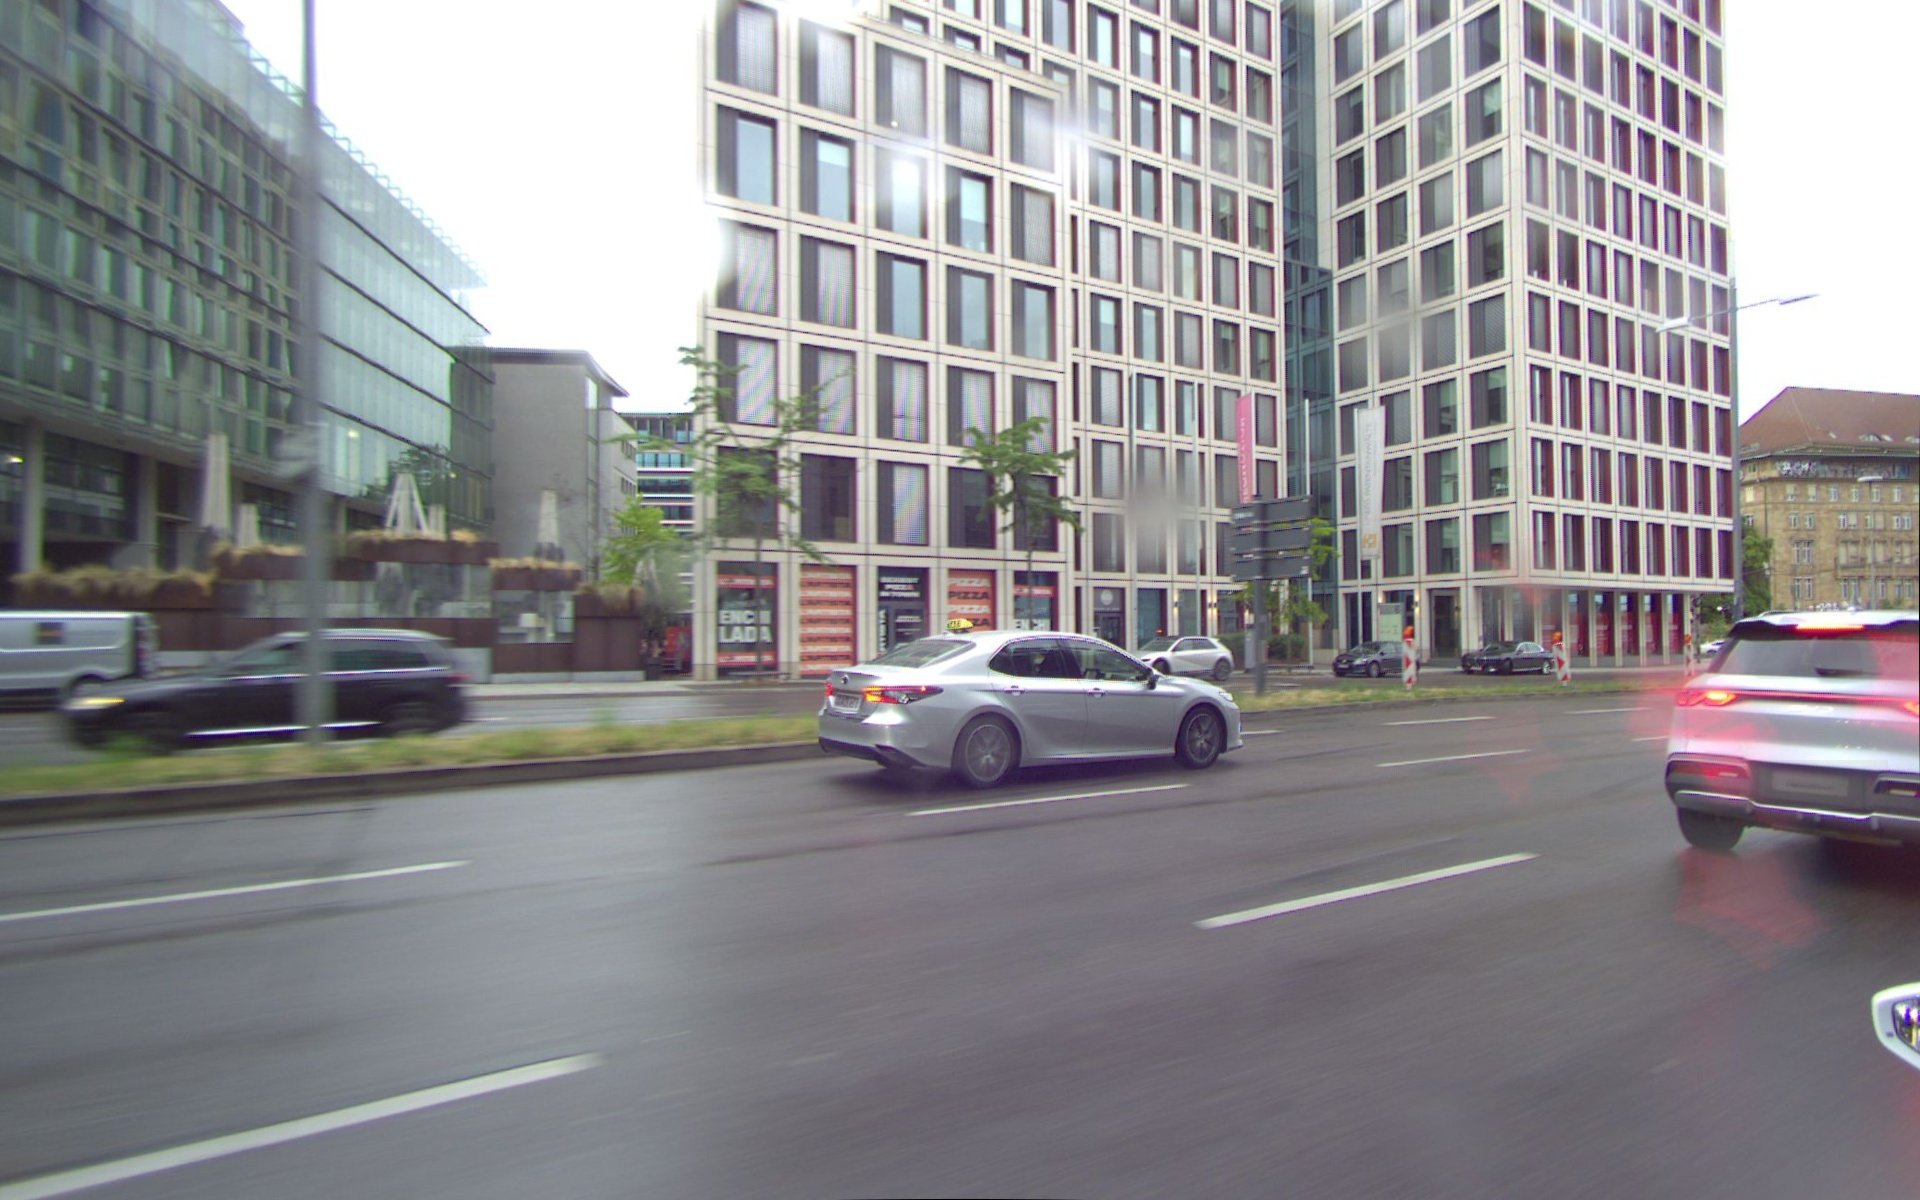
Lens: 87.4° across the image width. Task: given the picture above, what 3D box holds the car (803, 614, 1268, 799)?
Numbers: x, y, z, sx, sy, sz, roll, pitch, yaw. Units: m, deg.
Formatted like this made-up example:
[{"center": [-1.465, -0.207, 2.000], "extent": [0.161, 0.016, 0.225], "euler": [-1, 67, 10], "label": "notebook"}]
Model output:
[{"center": [0.918, 0.955, 10.464], "extent": [4.751, 1.541, 1.820], "euler": [1, -2, -34], "label": "car"}]

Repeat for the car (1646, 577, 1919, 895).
[{"center": [6.591, 0.769, 6.811], "extent": [4.126, 1.683, 1.797], "euler": [1, -2, -33], "label": "car"}]

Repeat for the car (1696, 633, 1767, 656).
[{"center": [61.332, 3.505, 79.883], "extent": [4.333, 1.684, 1.989], "euler": [-1, -2, 43], "label": "car"}]

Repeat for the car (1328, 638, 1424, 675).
[{"center": [17.251, 2.321, 41.595], "extent": [3.911, 1.442, 1.689], "euler": [1, -4, -32], "label": "car"}]

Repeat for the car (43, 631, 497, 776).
[{"center": [-9.153, 1.271, 13.762], "extent": [4.830, 1.653, 1.812], "euler": [2, -2, -37], "label": "car"}]

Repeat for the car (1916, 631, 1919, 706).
[{"center": [20.439, 1.319, 19.273], "extent": [4.327, 1.422, 1.726], "euler": [1, -2, -28], "label": "car"}]

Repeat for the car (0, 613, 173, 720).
[{"center": [-19.018, 1.296, 20.136], "extent": [4.862, 2.040, 1.983], "euler": [1, -2, -32], "label": "car"}]

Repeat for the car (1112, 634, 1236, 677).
[{"center": [7.646, 1.967, 35.755], "extent": [4.325, 1.442, 1.689], "euler": [1, -4, -32], "label": "car"}]

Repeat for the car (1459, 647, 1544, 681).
[{"center": [24.918, 2.946, 46.208], "extent": [3.911, 1.442, 1.689], "euler": [1, -4, -32], "label": "car"}]

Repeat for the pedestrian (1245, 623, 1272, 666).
[{"center": [12.445, 1.862, 41.891], "extent": [0.957, 1.757, 0.608], "euler": [1, -1, -34], "label": "pedestrian"}]
